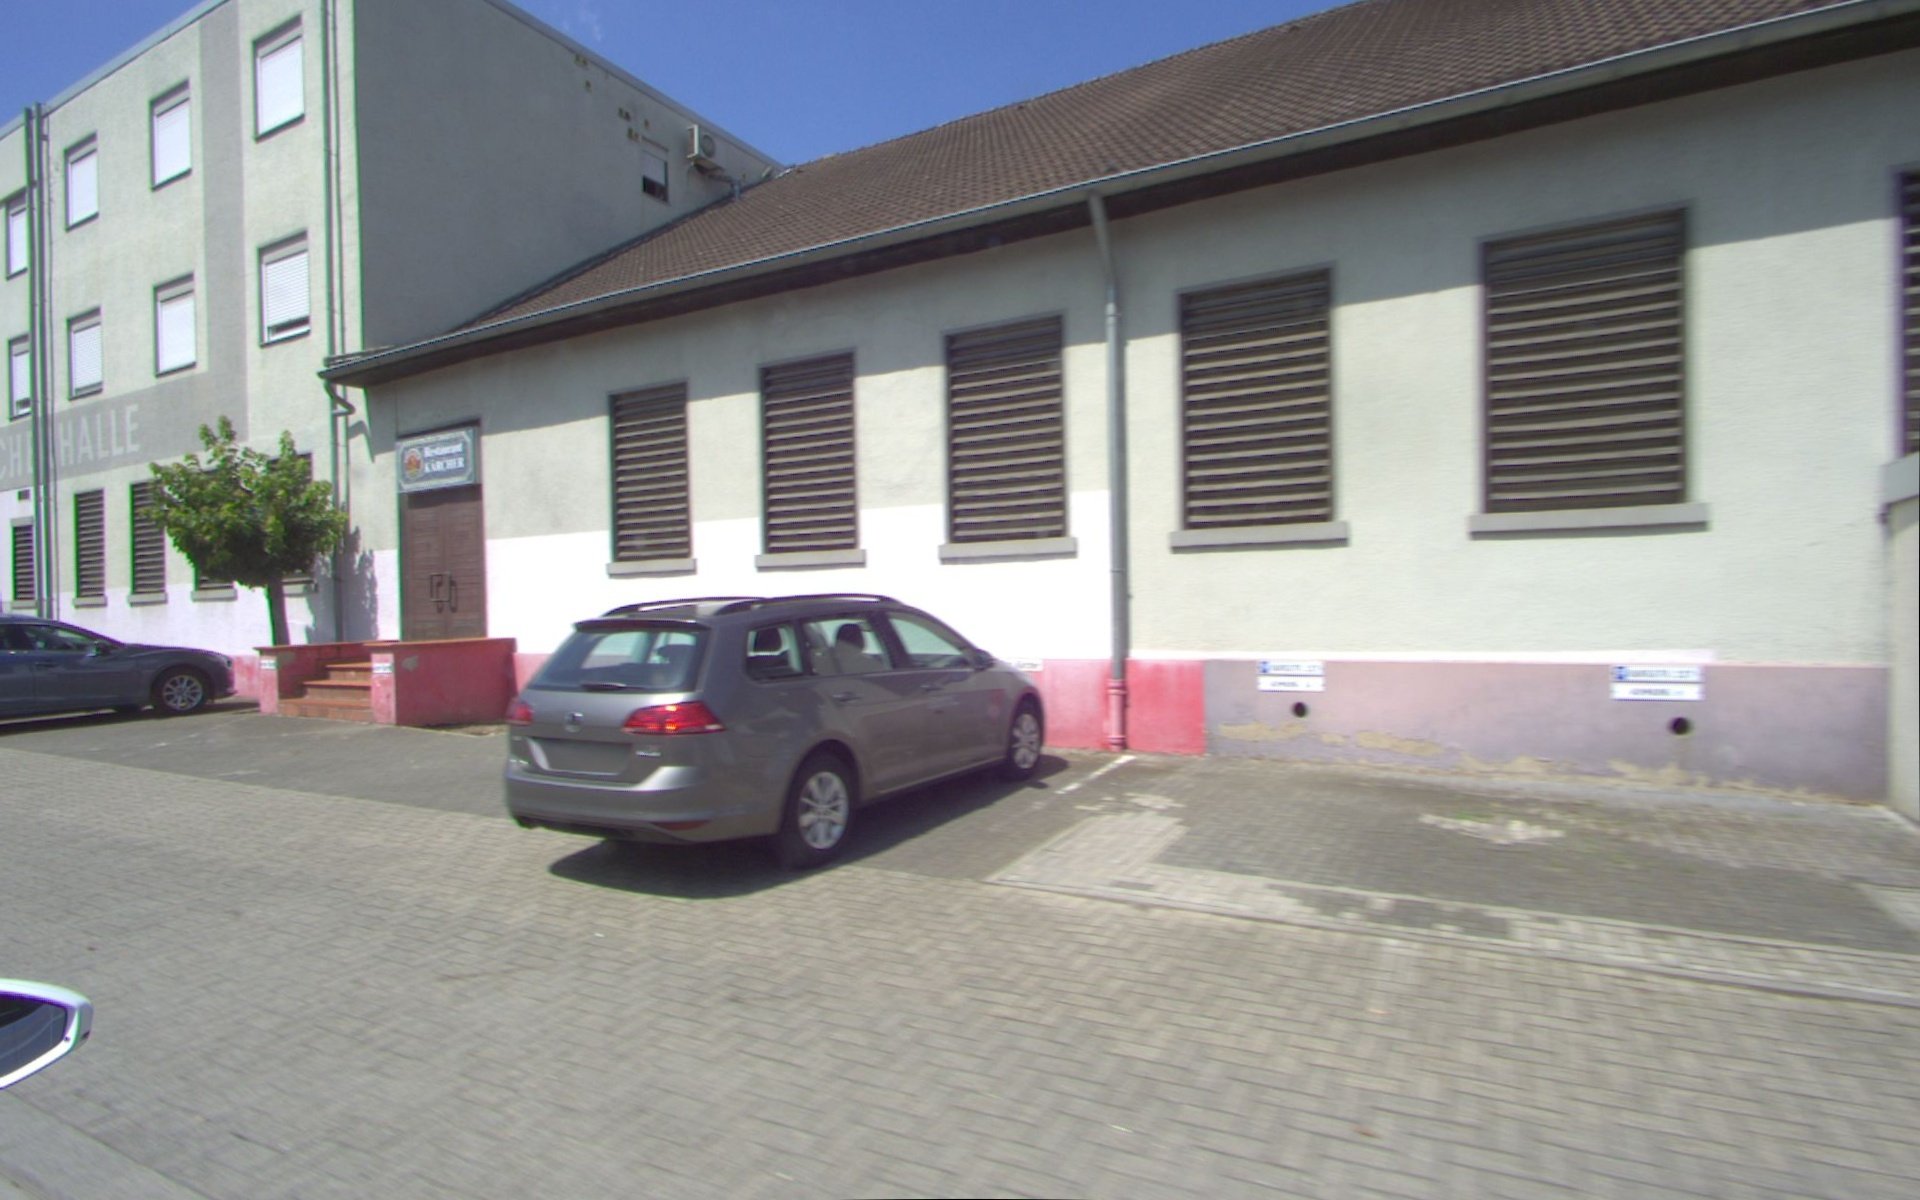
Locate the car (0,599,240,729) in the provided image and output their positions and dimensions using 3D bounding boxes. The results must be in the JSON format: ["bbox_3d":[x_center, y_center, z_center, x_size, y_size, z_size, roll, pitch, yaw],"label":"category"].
[{"bbox_3d":[-12.456,0.822,13.098,1.969,1.540,4.494,-1,1,28],"label":"car"}]

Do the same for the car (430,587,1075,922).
[{"bbox_3d":[-0.952,0.690,6.967,1.889,1.474,4.519,-1,1,29],"label":"car"}]

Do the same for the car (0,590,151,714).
[{"bbox_3d":[-14.486,0.759,14.057,1.893,1.720,4.449,-1,1,27],"label":"car"}]
